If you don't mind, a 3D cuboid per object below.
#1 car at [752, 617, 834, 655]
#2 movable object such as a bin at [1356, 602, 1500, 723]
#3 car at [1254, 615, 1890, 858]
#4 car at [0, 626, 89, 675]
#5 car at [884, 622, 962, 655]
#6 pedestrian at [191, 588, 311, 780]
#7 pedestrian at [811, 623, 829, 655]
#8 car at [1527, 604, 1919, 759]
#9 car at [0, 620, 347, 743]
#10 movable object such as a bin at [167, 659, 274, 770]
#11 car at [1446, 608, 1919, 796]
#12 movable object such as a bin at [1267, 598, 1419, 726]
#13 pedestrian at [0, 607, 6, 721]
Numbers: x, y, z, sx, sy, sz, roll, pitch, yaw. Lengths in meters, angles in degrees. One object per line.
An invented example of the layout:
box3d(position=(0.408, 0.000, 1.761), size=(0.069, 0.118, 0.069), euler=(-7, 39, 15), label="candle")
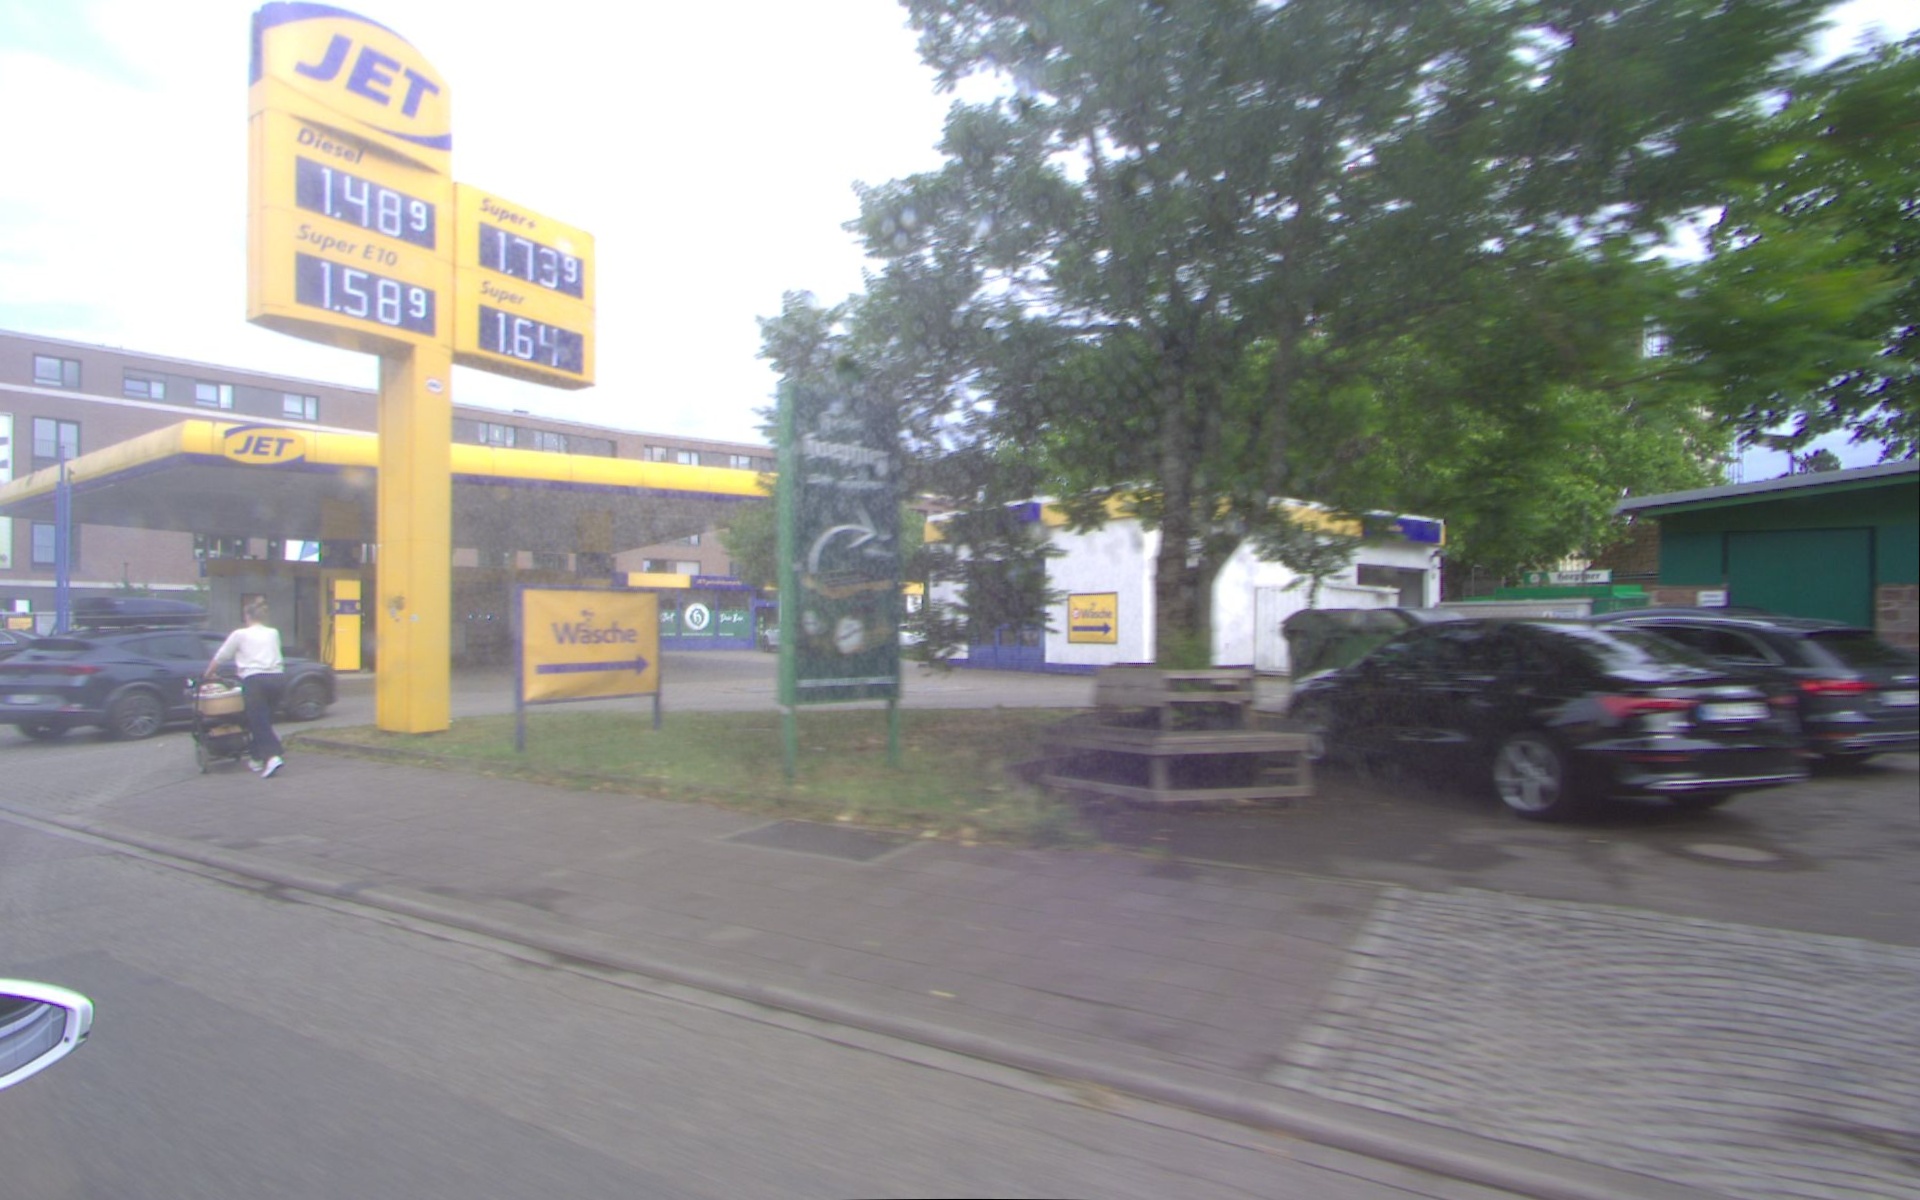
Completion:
box3d(position=(-7.782, 1.677, 46.420), size=(1.819, 1.658, 4.444), euler=(3, -4, -38), label="car")
box3d(position=(6.259, 0.826, 13.437), size=(1.272, 1.510, 1.121), euler=(3, 1, -19), label="movable object such as a bin")
box3d(position=(4.571, 0.864, 8.505), size=(1.900, 1.426, 4.577), euler=(0, 0, -15), label="car")
box3d(position=(-29.861, 1.526, 30.366), size=(4.804, 1.446, 1.948), euler=(1, -1, -21), label="car")
box3d(position=(-1.892, 1.949, 49.912), size=(1.914, 1.546, 4.307), euler=(2, -4, -34), label="car")
box3d(position=(-7.232, 0.806, 10.204), size=(0.762, 1.821, 1.150), euler=(-3, 2, -44), label="pedestrian")
box3d(position=(-6.233, 1.734, 44.455), size=(0.573, 1.363, 0.607), euler=(2, -3, -34), label="pedestrian")
box3d(position=(9.609, 0.823, 12.218), size=(1.952, 1.478, 4.479), euler=(1, 0, -20), label="car")
box3d(position=(-11.635, 1.072, 14.798), size=(1.959, 1.516, 4.323), euler=(-1, -1, 12), label="car")
box3d(position=(-8.007, 1.204, 10.834), size=(0.763, 1.053, 1.014), euler=(-3, 1, -44), label="movable object such as a bin")
box3d(position=(7.596, 0.853, 10.586), size=(1.844, 1.446, 4.533), euler=(-2, 0, -16), label="car")
box3d(position=(4.967, 0.780, 13.052), size=(1.397, 1.535, 1.121), euler=(1, 3, -17), label="movable object such as a bin")
box3d(position=(-15.419, 1.002, 15.341), size=(0.849, 1.761, 0.969), euler=(-1, 1, 34), label="pedestrian")
